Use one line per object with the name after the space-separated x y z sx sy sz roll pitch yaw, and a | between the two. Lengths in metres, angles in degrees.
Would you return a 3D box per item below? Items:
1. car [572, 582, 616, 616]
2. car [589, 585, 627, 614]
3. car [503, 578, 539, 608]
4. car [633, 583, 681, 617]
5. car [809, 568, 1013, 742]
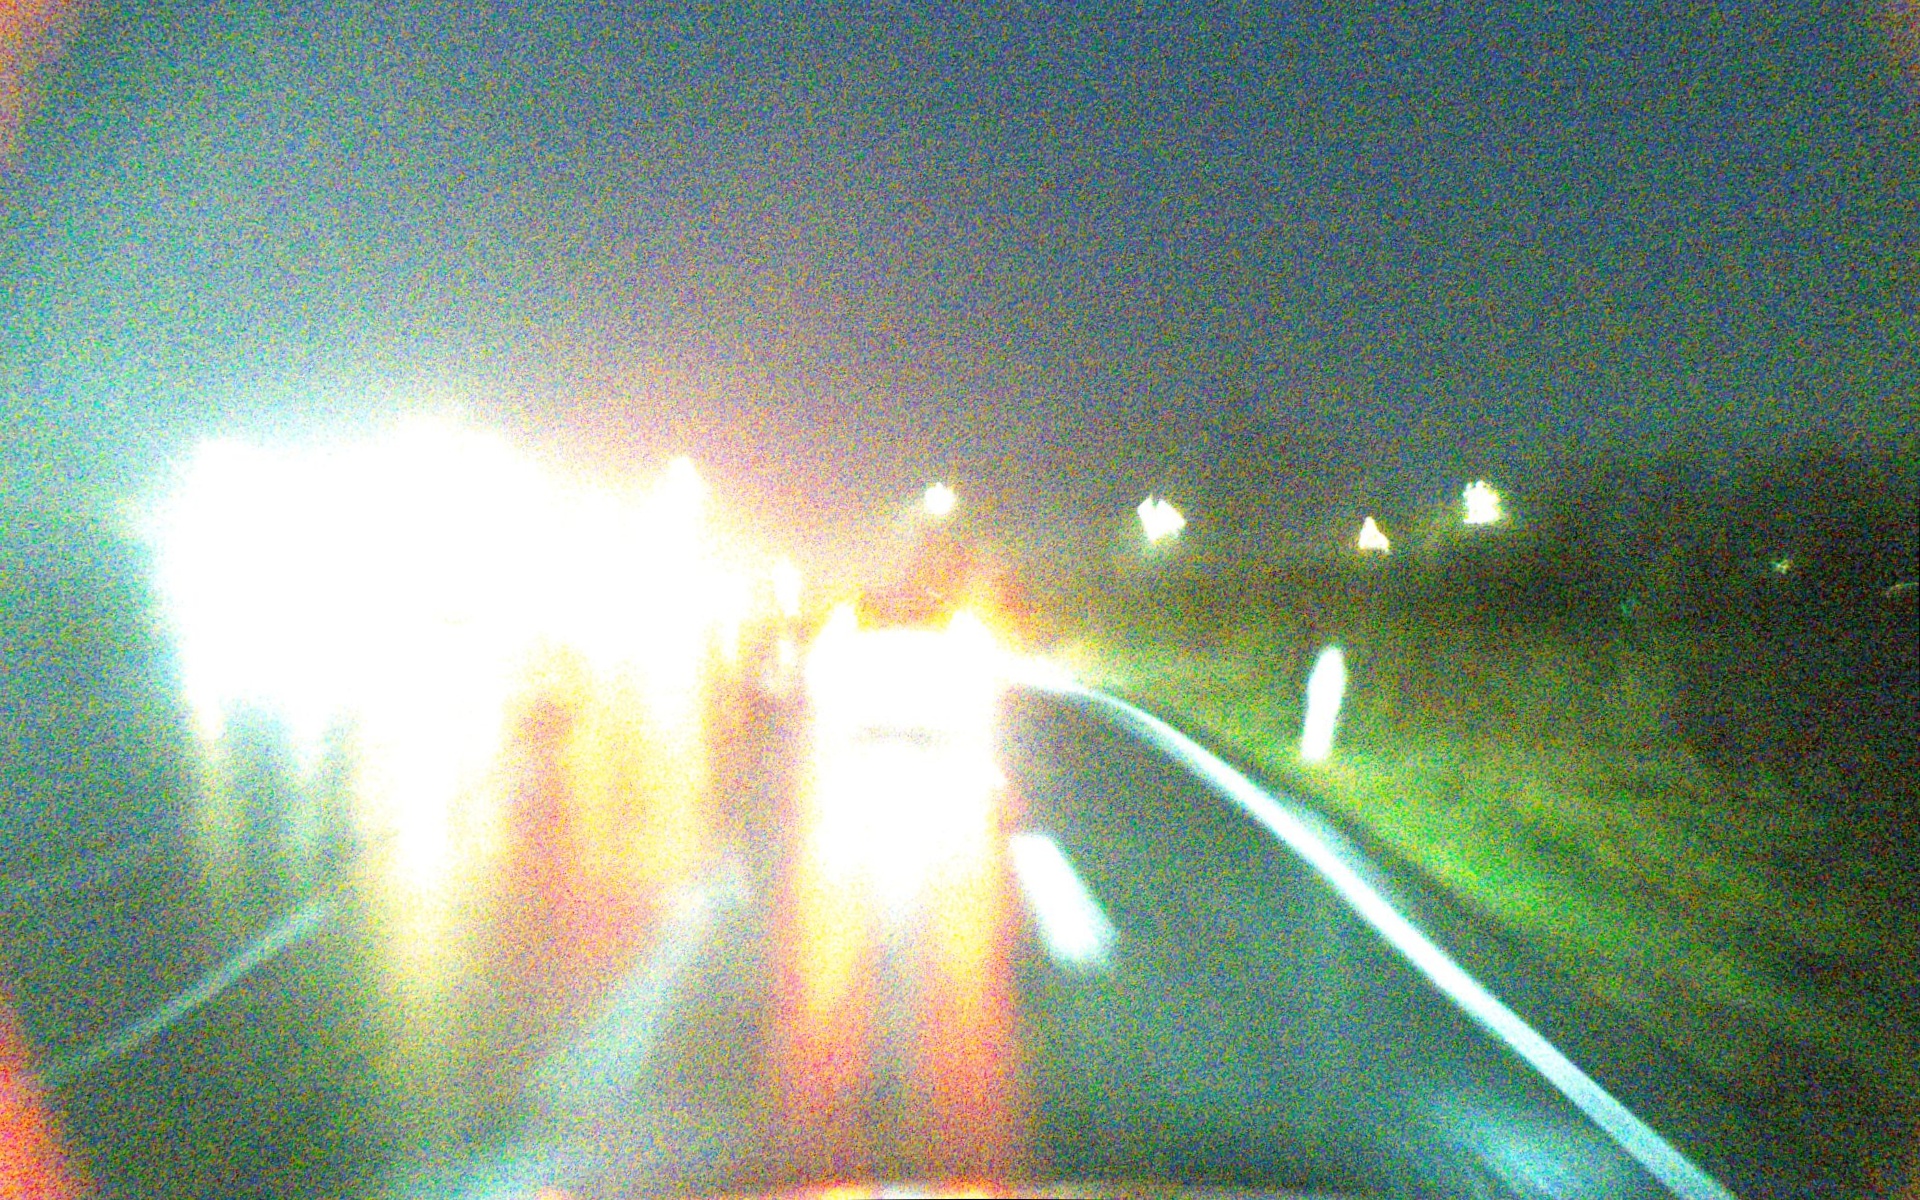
-19.287 -0.074 87.098 1.961 1.656 4.963 -1 1 -16 | car
-21.717 -0.029 101.910 1.961 1.656 4.963 -1 1 -16 | car
-25.782 -0.412 97.064 1.961 1.656 4.963 -1 1 -16 | car
-16.012 -0.008 87.260 1.961 1.656 4.963 -1 1 -16 | car
-0.493 0.574 18.608 1.953 1.656 4.983 1 -1 0 | car
